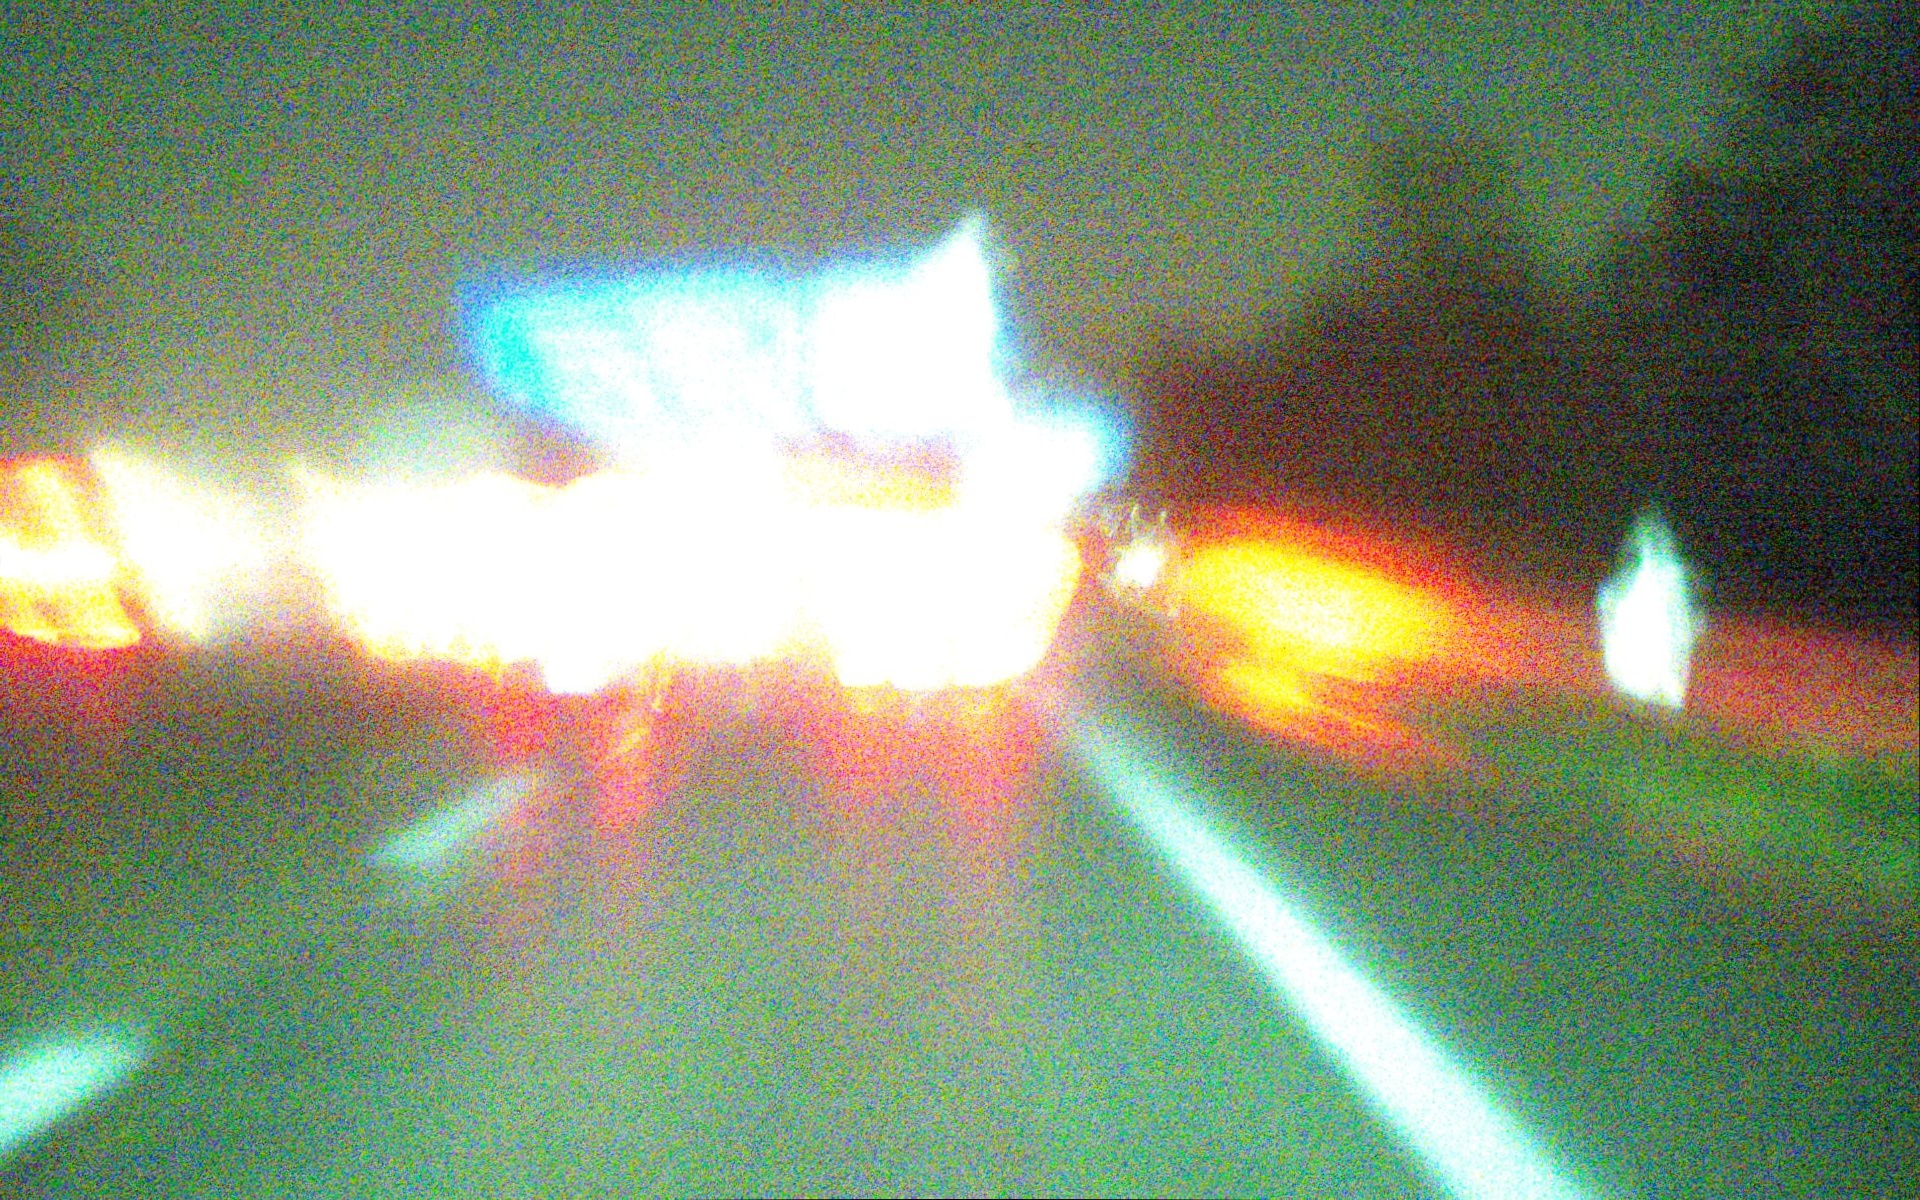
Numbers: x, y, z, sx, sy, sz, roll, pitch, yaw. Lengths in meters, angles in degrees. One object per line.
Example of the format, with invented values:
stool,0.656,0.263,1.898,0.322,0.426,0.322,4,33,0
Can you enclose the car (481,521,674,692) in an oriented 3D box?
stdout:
car,-4.748,0.051,43.268,2.125,2.007,4.646,1,1,-3

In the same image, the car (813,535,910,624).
car,-2.368,-0.499,81.639,2.125,2.007,4.646,1,1,-3

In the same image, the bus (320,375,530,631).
bus,-10.173,-1.787,66.467,3.096,4.492,10.915,1,1,-4

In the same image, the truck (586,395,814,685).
truck,-5.351,-1.244,73.283,4.210,5.629,11.468,1,1,-2

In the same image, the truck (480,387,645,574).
truck,-12.689,-3.716,110.931,4.210,5.629,11.468,1,1,-2

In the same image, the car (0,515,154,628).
car,-13.285,-0.438,51.352,1.993,1.590,4.001,1,1,-7

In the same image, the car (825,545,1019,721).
car,-0.435,0.326,37.892,1.993,1.801,4.000,1,1,-1
